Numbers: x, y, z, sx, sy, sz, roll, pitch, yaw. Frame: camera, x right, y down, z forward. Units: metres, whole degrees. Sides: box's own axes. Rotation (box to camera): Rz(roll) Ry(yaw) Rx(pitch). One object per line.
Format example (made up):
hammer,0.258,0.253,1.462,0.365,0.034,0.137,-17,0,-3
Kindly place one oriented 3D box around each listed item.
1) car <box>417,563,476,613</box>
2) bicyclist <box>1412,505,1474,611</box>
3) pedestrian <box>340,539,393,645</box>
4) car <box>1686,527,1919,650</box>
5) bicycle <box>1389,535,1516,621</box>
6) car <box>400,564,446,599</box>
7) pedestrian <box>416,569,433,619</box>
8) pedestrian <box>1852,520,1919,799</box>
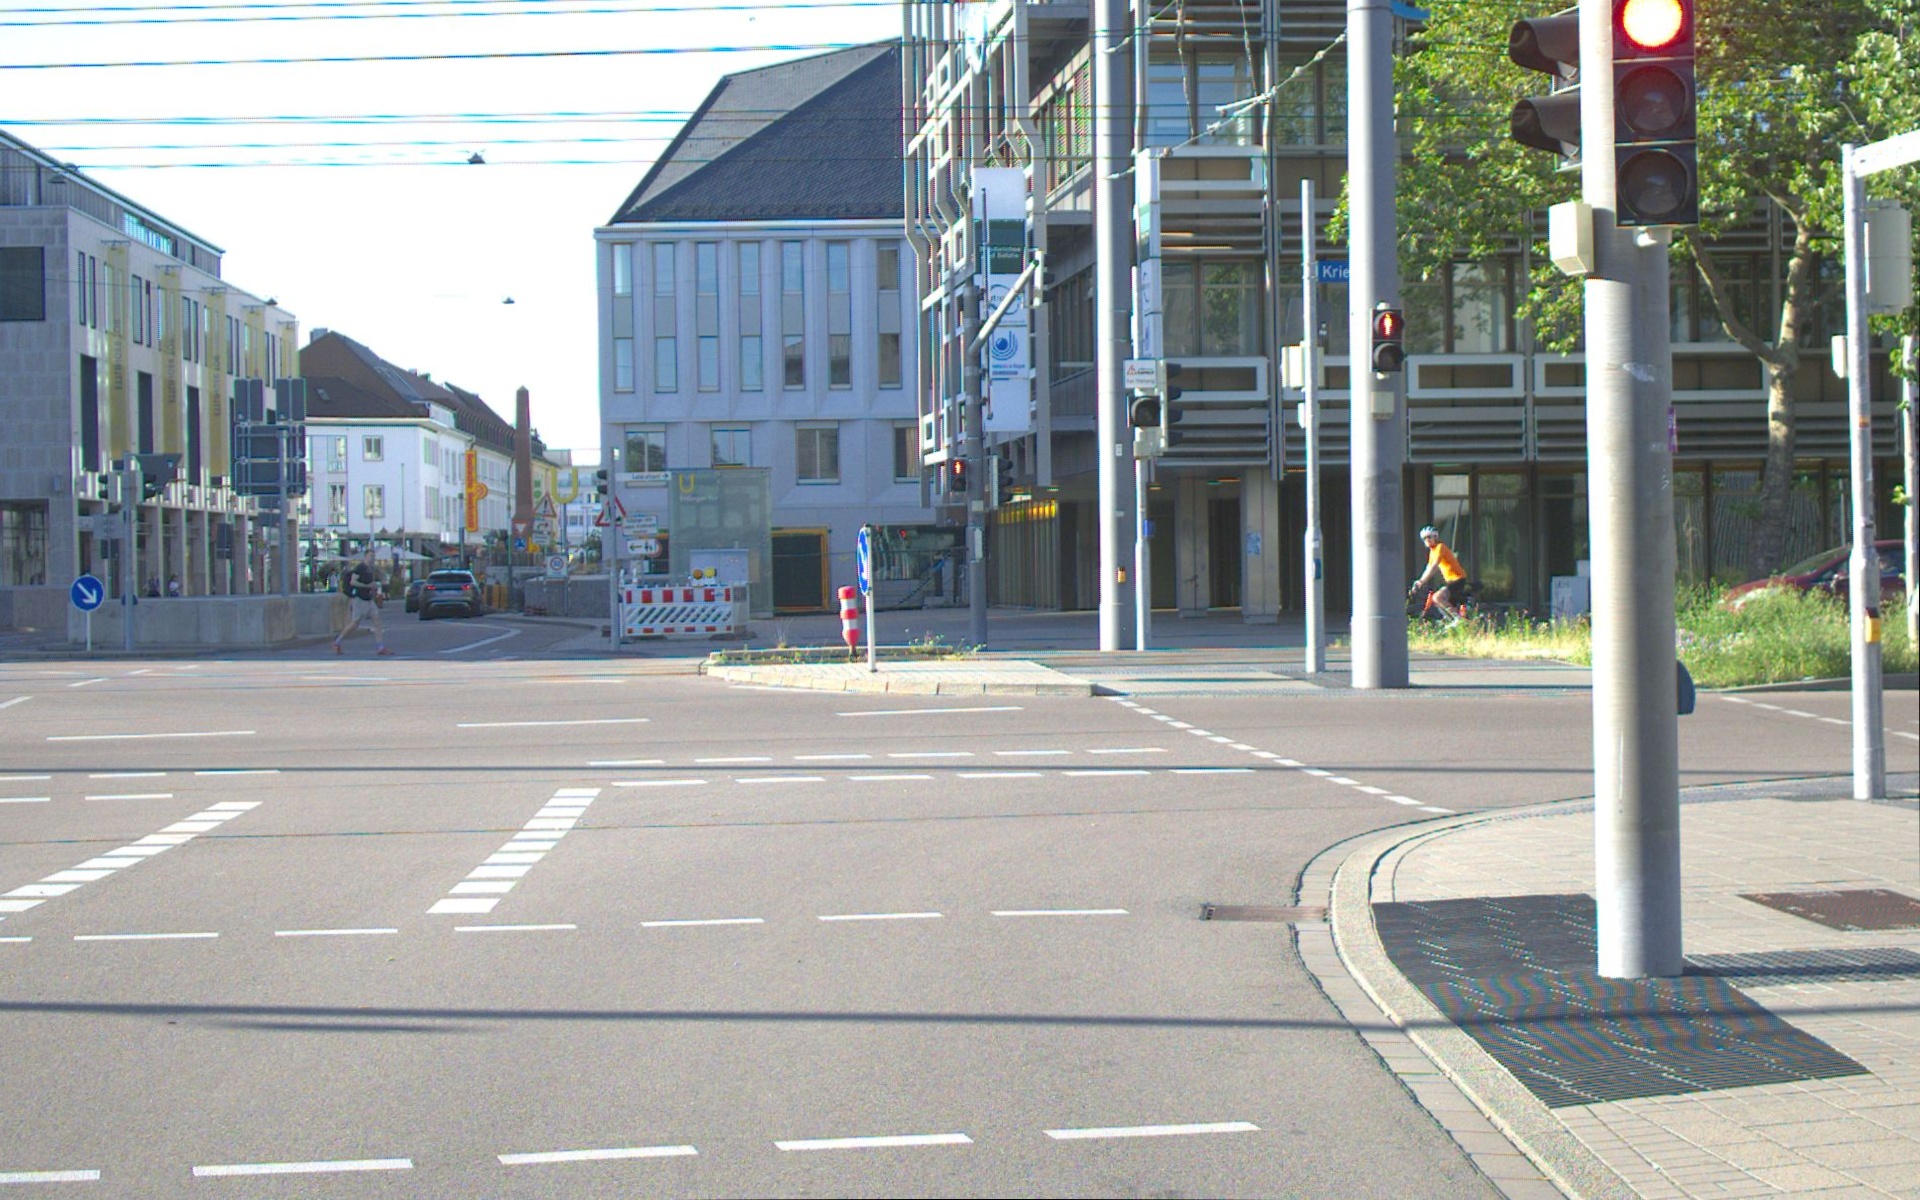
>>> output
car,-16.143,-0.385,108.200,1.737,1.525,3.856,1,1,-7
bicyclist,6.626,-0.579,47.150,0.711,1.432,0.497,1,0,-9
pedestrian,-10.630,-0.149,61.600,0.642,1.883,0.790,1,0,14
car,11.906,-0.173,46.146,3.884,1.579,1.660,-1,1,-7
bicycle,6.754,-0.303,47.173,1.644,1.150,0.497,1,0,-9
car,-23.049,-0.812,147.628,1.785,1.446,4.001,1,1,-7
pedestrian,-18.267,-0.213,117.318,0.521,1.674,0.583,1,1,-7
pedestrian,5.336,0.318,18.670,0.788,1.487,0.644,1,0,-1
